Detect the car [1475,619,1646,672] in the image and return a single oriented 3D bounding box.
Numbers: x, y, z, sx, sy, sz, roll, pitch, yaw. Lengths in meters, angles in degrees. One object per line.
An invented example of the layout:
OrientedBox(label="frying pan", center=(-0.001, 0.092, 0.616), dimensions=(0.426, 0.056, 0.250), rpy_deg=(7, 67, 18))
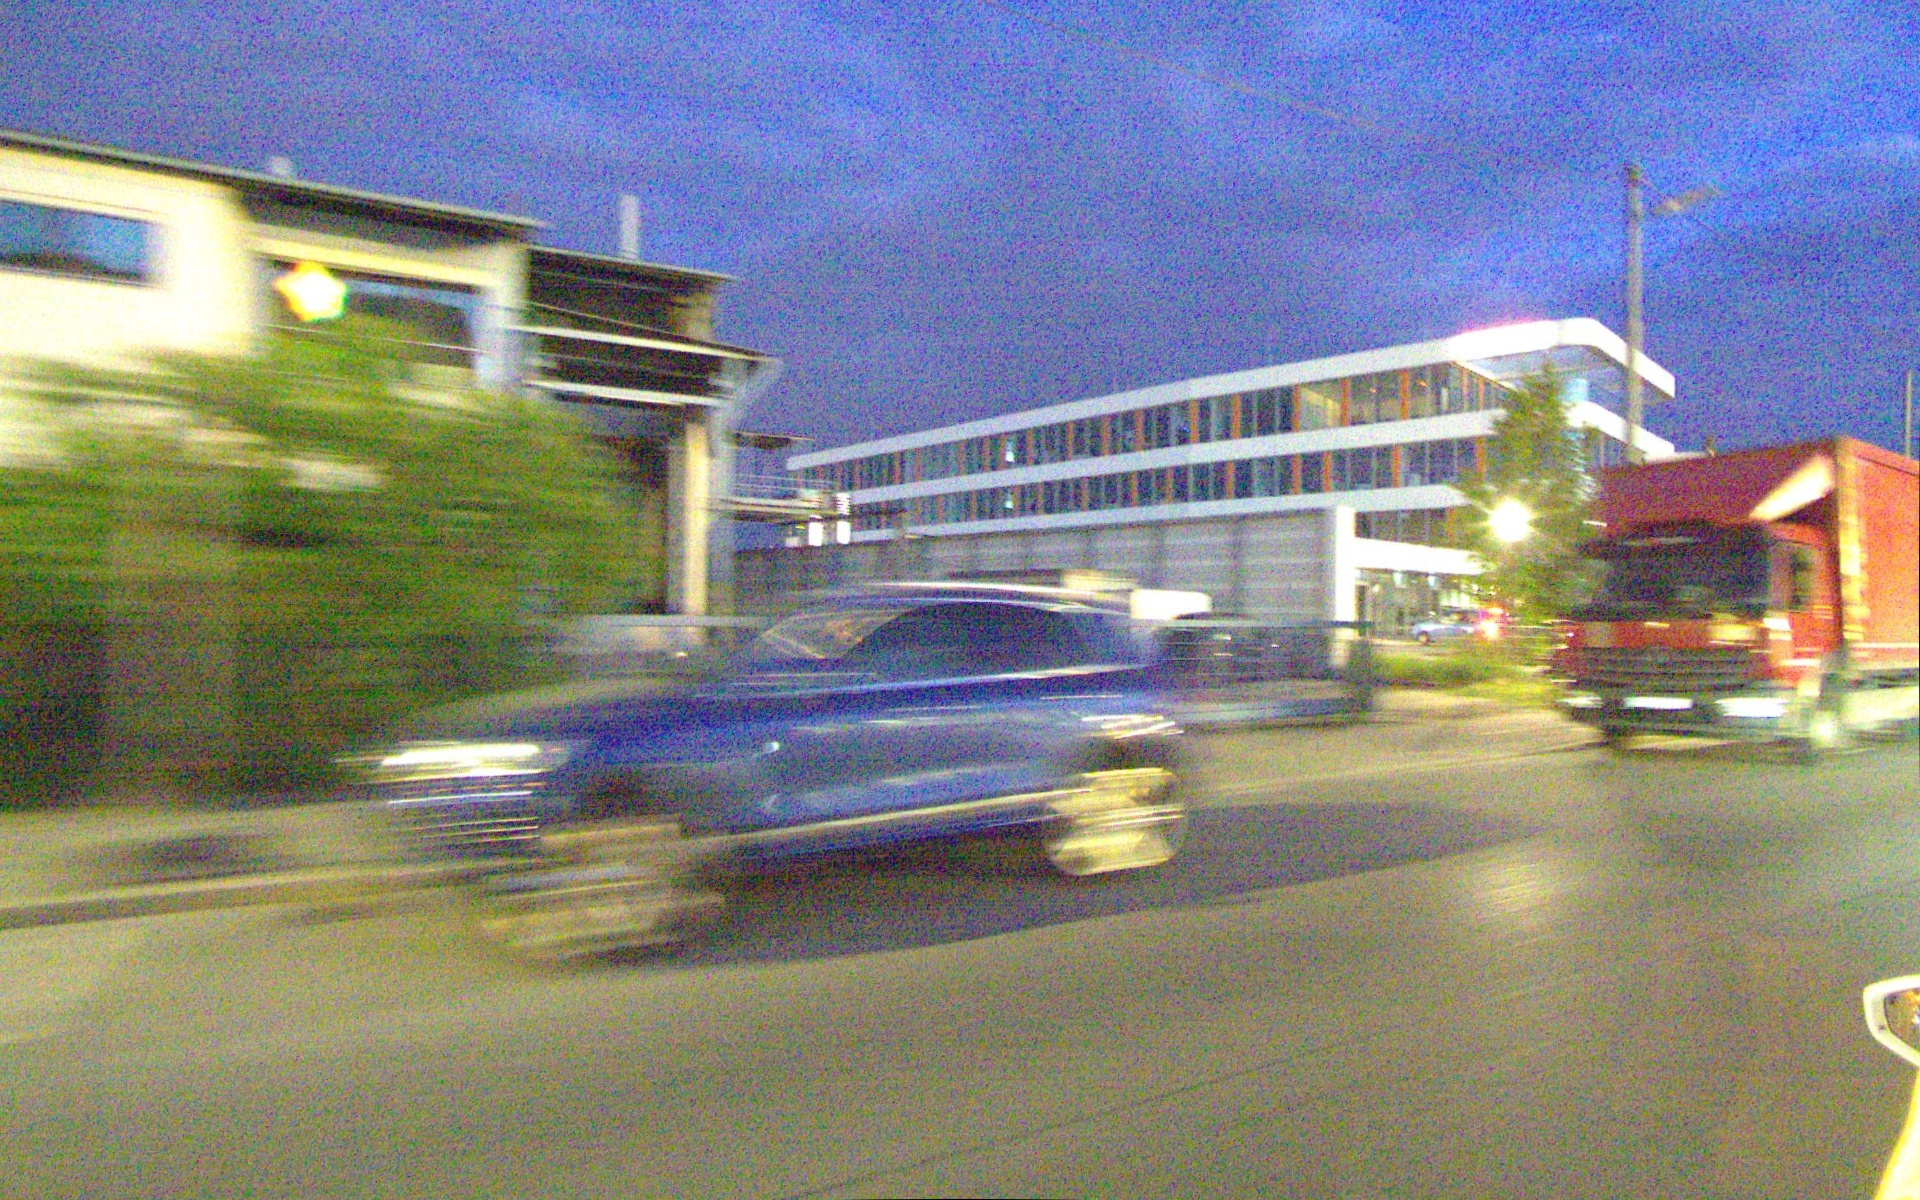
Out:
OrientedBox(label="car", center=(19.169, 1.409, 32.221), dimensions=(1.878, 1.502, 4.364), rpy_deg=(2, -1, -42))

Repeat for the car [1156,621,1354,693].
OrientedBox(label="car", center=(6.617, 1.232, 22.871), dimensions=(1.850, 1.443, 3.987), rpy_deg=(2, -2, -40))

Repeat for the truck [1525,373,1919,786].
OrientedBox(label="truck", center=(11.614, -0.077, 13.878), dimensions=(9.242, 4.175, 2.756), rpy_deg=(2, -1, -34))

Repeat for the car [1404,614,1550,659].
OrientedBox(label="car", center=(18.662, 1.290, 36.378), dimensions=(1.815, 1.471, 4.362), rpy_deg=(2, -1, -43))

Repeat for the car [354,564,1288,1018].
OrientedBox(label="car", center=(-0.576, 0.811, 6.012), dimensions=(5.138, 1.740, 1.934), rpy_deg=(2, -1, -31))

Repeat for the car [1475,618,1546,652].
OrientedBox(label="car", center=(28.891, 1.825, 52.678), dimensions=(4.172, 1.663, 1.975), rpy_deg=(2, 0, -42))
